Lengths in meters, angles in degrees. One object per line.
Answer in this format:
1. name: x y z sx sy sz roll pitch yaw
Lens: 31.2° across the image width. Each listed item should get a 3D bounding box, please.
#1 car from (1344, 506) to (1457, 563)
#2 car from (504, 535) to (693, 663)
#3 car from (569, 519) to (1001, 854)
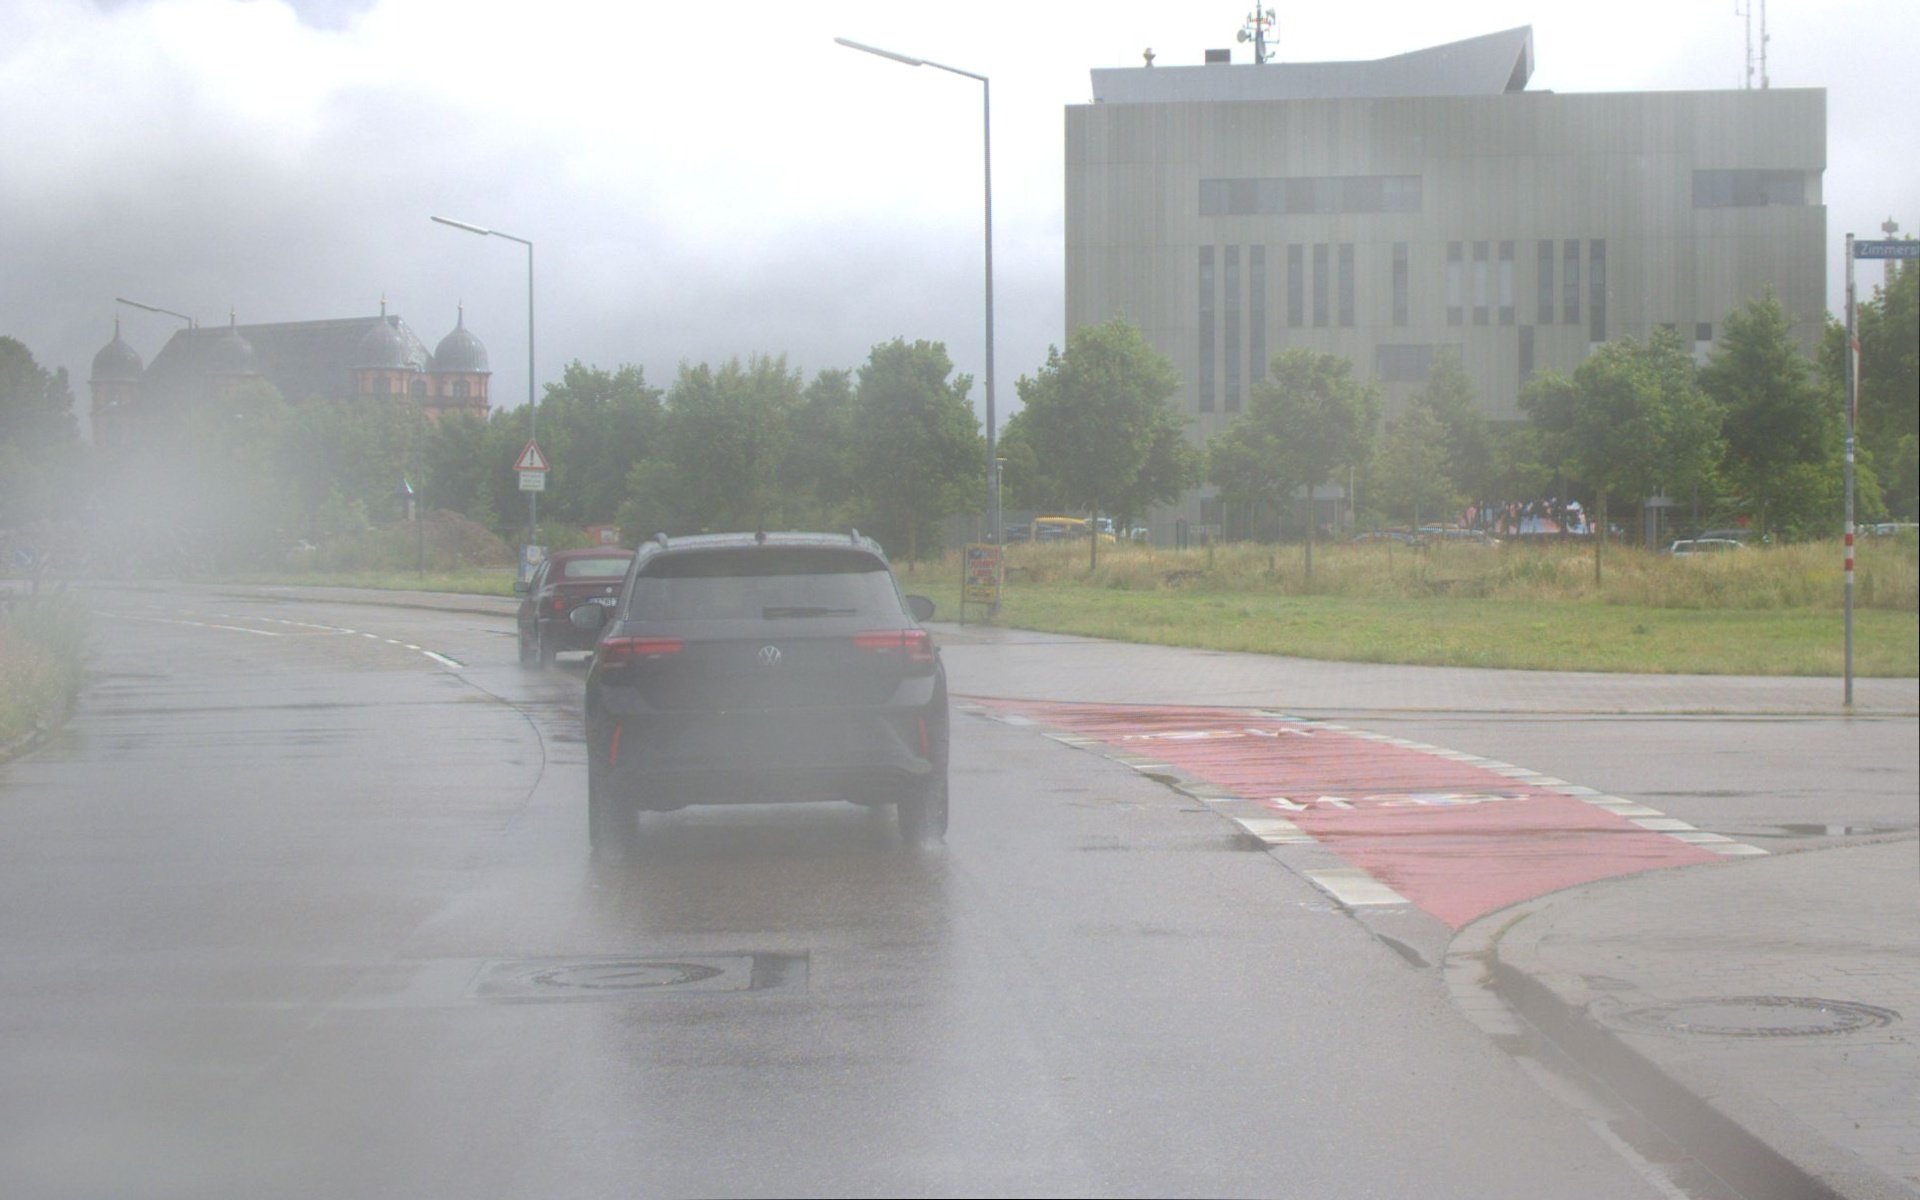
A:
1. car: 15.921 -2.358 124.186 3.700 2.007 1.998 0 1 20
2. car: -4.575 -0.052 43.061 1.841 1.437 4.001 -3 2 -12
3. car: -1.001 0.352 17.975 1.986 1.515 4.001 -1 1 -6
